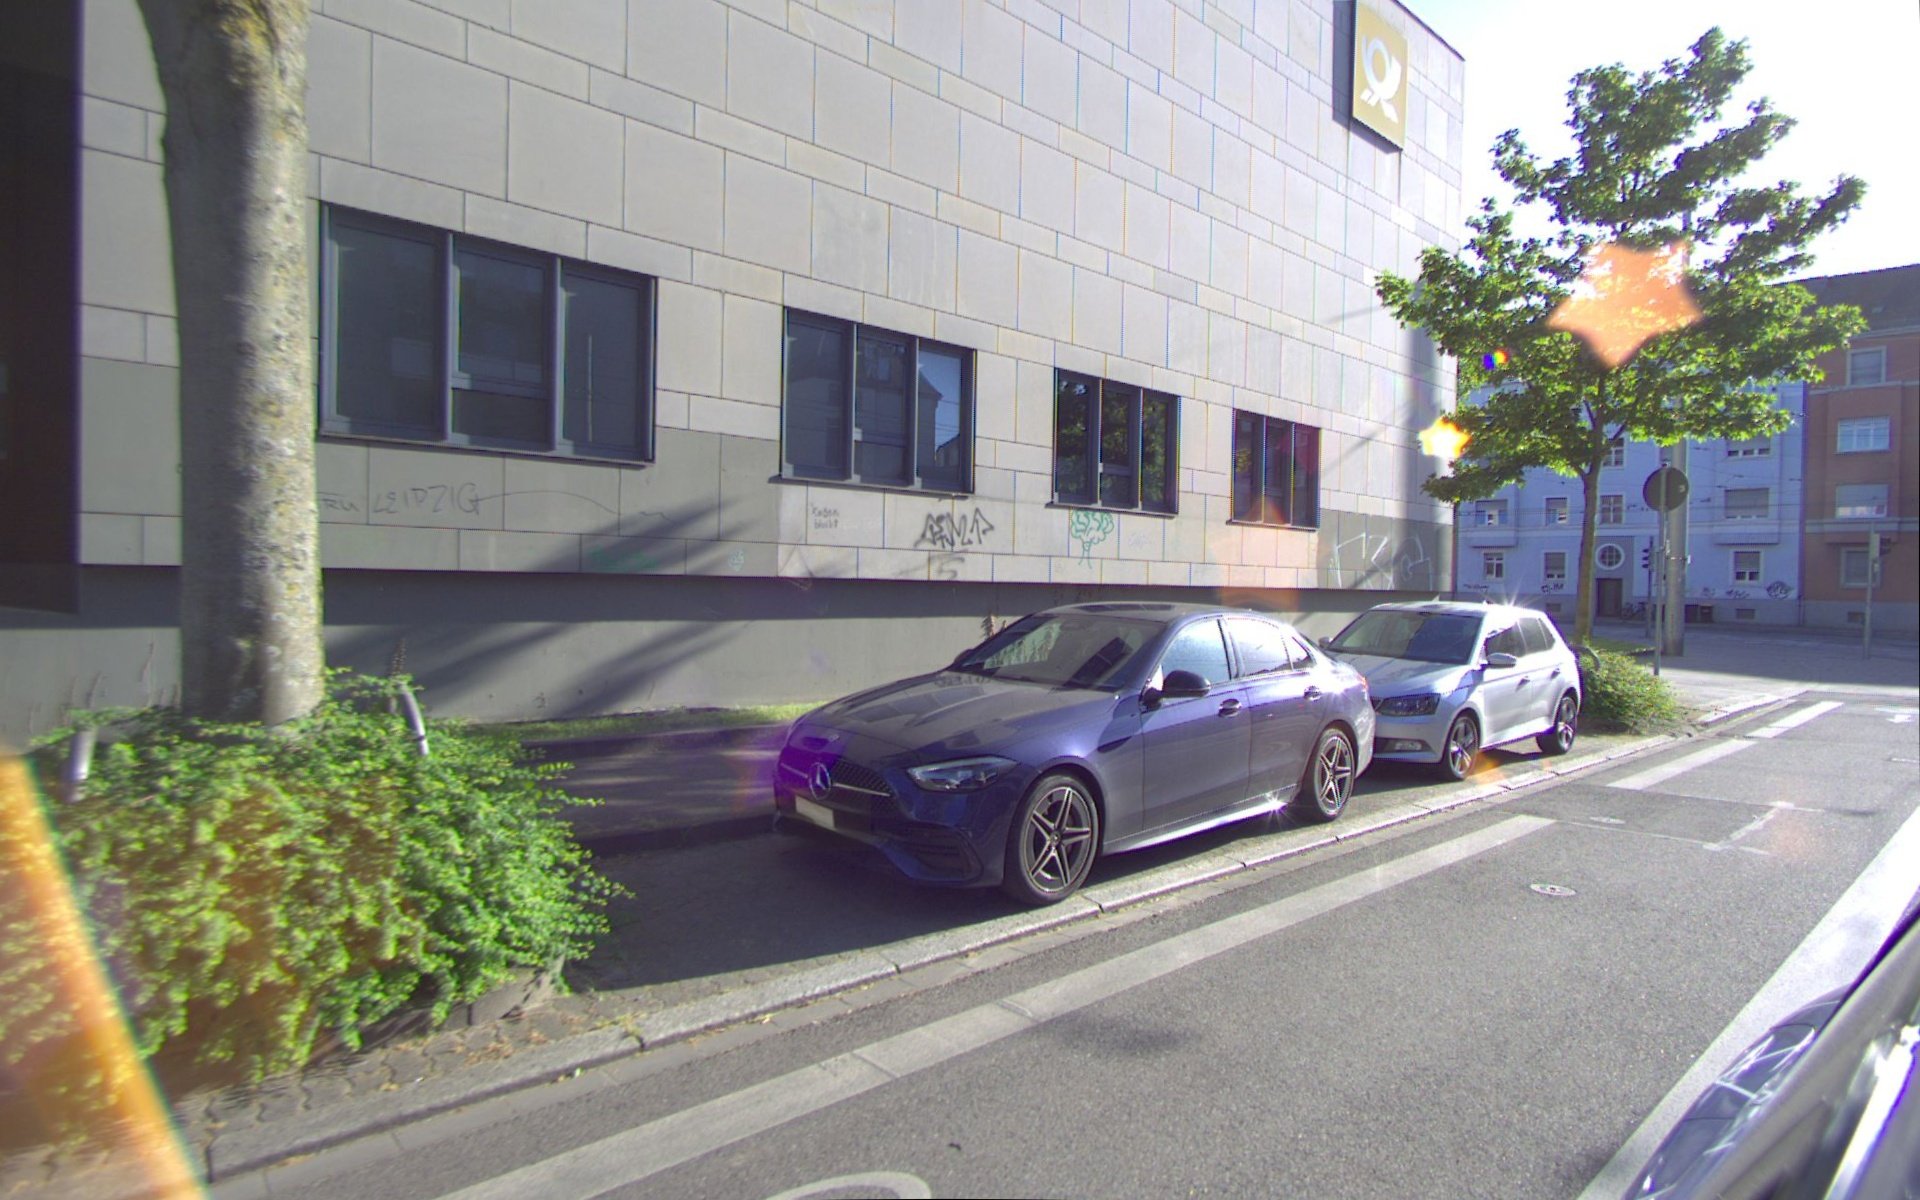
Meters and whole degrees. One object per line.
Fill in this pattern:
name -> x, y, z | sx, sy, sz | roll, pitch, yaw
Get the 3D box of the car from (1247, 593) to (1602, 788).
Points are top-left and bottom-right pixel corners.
car -> 4.618, 0.694, 9.809 | 3.930, 1.498, 1.653 | -1, 0, -41

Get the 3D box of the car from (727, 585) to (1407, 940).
car -> 0.987, 0.653, 6.431 | 4.583, 1.425, 1.680 | -1, 3, -43
